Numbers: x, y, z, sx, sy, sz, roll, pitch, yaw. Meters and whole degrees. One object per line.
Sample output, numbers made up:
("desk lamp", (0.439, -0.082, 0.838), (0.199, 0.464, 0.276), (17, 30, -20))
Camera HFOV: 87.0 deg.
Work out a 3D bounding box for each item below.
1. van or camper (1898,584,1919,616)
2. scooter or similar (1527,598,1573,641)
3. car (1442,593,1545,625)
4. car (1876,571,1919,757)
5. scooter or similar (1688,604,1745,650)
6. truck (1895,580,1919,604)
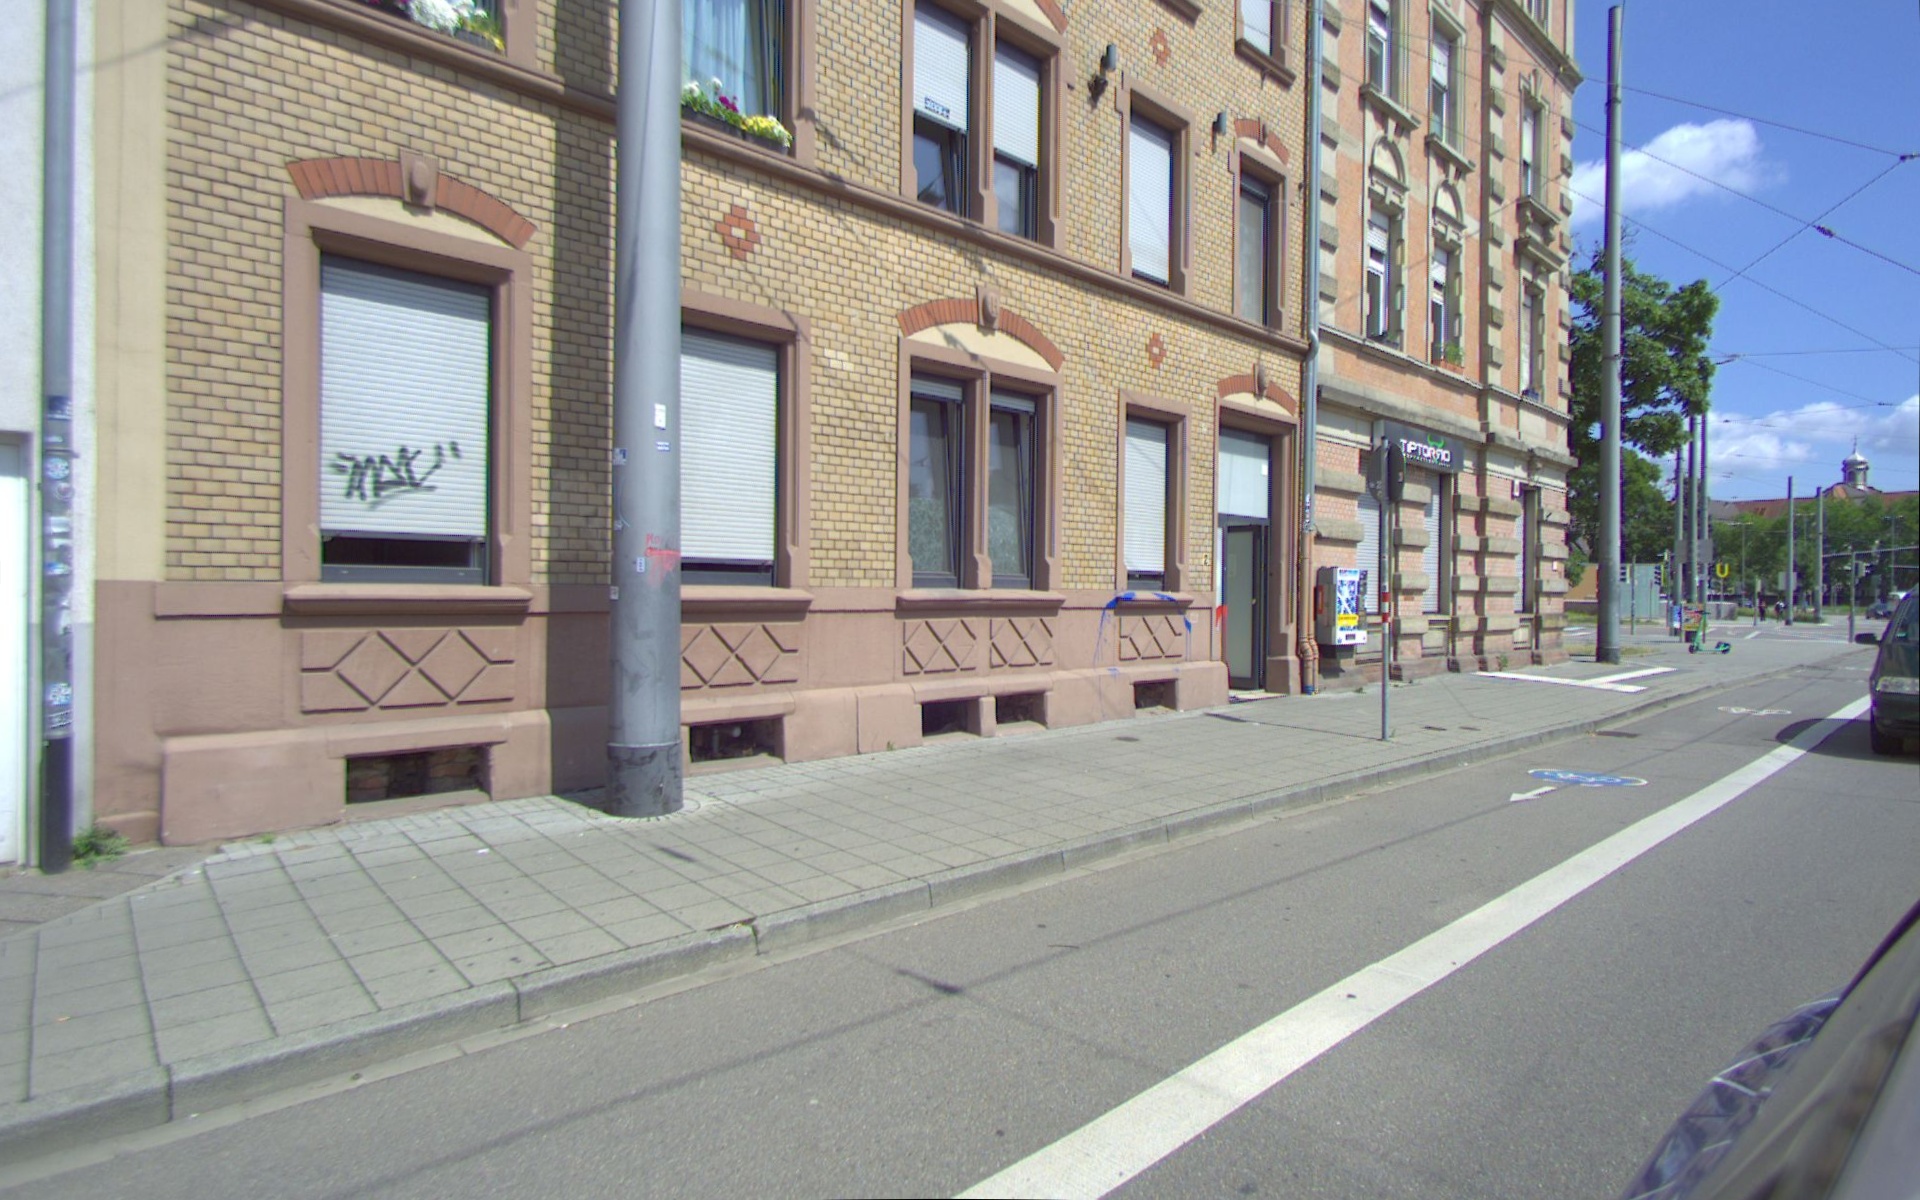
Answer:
("van or camper", (84.728, 0.030, 89.234), (2.219, 2.770, 5.451), (1, 0, 35))
("scooter or similar", (17.638, 0.567, 30.254), (0.947, 1.218, 1.370), (2, 1, 41))
("car", (27.990, 0.455, 53.221), (4.355, 1.607, 1.869), (0, 0, 10))
("car", (10.841, 0.594, 10.367), (4.016, 1.739, 1.817), (0, 0, -43))
("scooter or similar", (20.400, 0.711, 27.293), (1.066, 1.194, 0.951), (0, 1, -36))
("truck", (122.981, -0.998, 129.224), (3.327, 3.036, 8.645), (1, 0, 29))
